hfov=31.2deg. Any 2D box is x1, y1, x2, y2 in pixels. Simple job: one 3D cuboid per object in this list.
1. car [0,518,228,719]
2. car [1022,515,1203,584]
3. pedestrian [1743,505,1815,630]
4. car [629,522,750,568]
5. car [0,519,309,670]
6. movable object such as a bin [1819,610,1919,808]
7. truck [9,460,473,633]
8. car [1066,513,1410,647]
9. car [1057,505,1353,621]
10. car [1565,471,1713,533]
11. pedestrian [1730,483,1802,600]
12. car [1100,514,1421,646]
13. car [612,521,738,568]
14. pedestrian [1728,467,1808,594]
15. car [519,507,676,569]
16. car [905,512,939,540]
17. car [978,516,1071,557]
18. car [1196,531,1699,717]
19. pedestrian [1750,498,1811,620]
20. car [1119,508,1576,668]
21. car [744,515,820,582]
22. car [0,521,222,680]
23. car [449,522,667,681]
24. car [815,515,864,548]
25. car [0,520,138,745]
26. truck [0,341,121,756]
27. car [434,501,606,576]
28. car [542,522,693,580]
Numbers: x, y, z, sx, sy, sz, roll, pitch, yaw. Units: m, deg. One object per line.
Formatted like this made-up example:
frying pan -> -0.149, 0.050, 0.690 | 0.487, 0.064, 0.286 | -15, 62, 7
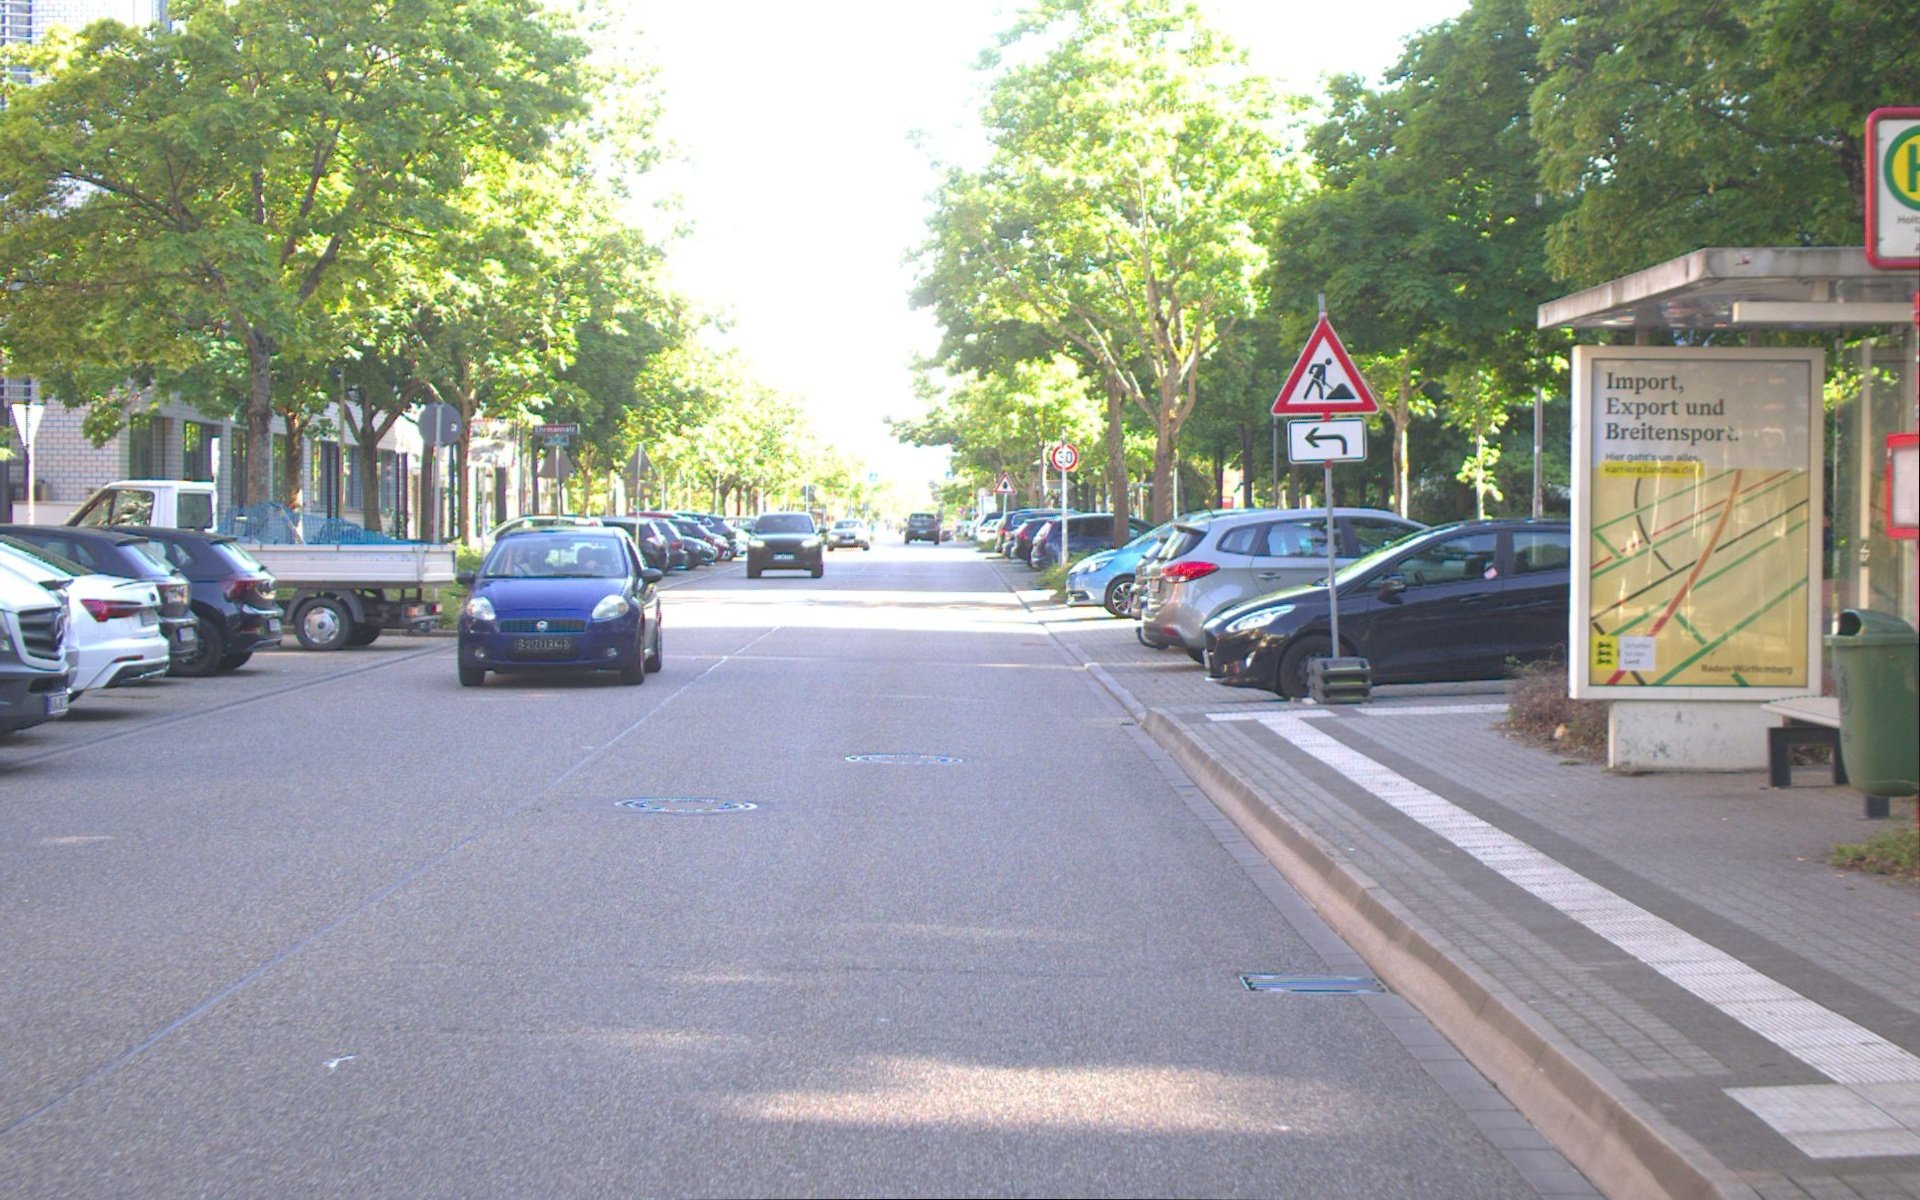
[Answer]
car -> -8.220, 0.073, 26.974 | 4.540, 1.437, 1.890 | 2, 2, -2
car -> 3.711, -1.235, 84.031 | 4.267, 1.628, 1.858 | -1, 1, -3
pedestrian -> 10.252, -0.411, 43.049 | 0.756, 1.547, 0.559 | 0, 1, -3
car -> -8.919, -1.823, 113.649 | 3.892, 1.459, 1.858 | 0, 1, -1
car -> -8.701, -0.084, 34.350 | 3.987, 1.430, 1.789 | 1, 1, 4
movable object such as a bin -> 3.605, 0.424, 13.550 | 0.298, 0.751, 0.467 | -2, 1, 0
truck -> -8.408, -0.645, 40.518 | 4.985, 1.952, 2.138 | 0, 1, 2
car -> 3.272, -0.260, 40.862 | 3.799, 1.403, 1.702 | -2, 2, -5
car -> 3.801, -0.596, 53.897 | 4.405, 1.612, 1.912 | -2, 1, -1
car -> 21.199, -3.038, 107.402 | 4.071, 1.777, 2.000 | 2, 1, -4
pedestrian -> 10.102, -0.742, 43.111 | 0.700, 1.453, 0.716 | 0, 1, -3
car -> 3.767, -0.268, 43.578 | 3.846, 1.478, 1.825 | -2, 2, -1
car -> -9.066, -1.762, 109.551 | 3.892, 1.459, 1.858 | 0, 1, -1
pedestrian -> 11.164, -0.969, 47.512 | 0.695, 1.705, 0.921 | -3, 2, -11
car -> -8.913, -1.531, 84.712 | 3.732, 1.459, 1.677 | 0, 1, -1
car -> -2.192, -4.278, 198.960 | 1.933, 1.592, 4.367 | 0, 1, -1
car -> 2.919, -2.862, 155.435 | 3.986, 1.786, 2.000 | 0, 1, -5
car -> 3.910, 0.168, 28.106 | 3.935, 1.434, 1.774 | 0, 1, 4
pedestrian -> 10.353, -0.522, 43.388 | 0.602, 1.515, 0.595 | 0, 1, -3
car -> 3.950, -0.140, 35.480 | 4.351, 1.592, 1.940 | 0, 1, -6
car -> -4.512, -1.327, 87.684 | 1.891, 1.678, 4.353 | 0, 1, -2
car -> -9.000, -0.013, 31.790 | 3.987, 1.430, 1.722 | 0, 1, 0
car -> -3.764, -0.033, 32.700 | 1.643, 1.415, 4.000 | 0, 1, -1
car -> -5.294, -3.013, 151.562 | 1.813, 1.410, 4.107 | 1, 1, 3
car -> -8.179, 0.154, 23.941 | 4.426, 1.482, 2.000 | 1, 1, -2
truck -> -8.533, -0.345, 21.104 | 6.232, 2.413, 2.187 | 0, 1, 0
car -> -9.578, -1.331, 75.004 | 3.580, 1.544, 1.637 | 1, -1, -3
car -> -8.814, -1.263, 88.609 | 3.732, 1.459, 1.677 | 0, 1, -1
